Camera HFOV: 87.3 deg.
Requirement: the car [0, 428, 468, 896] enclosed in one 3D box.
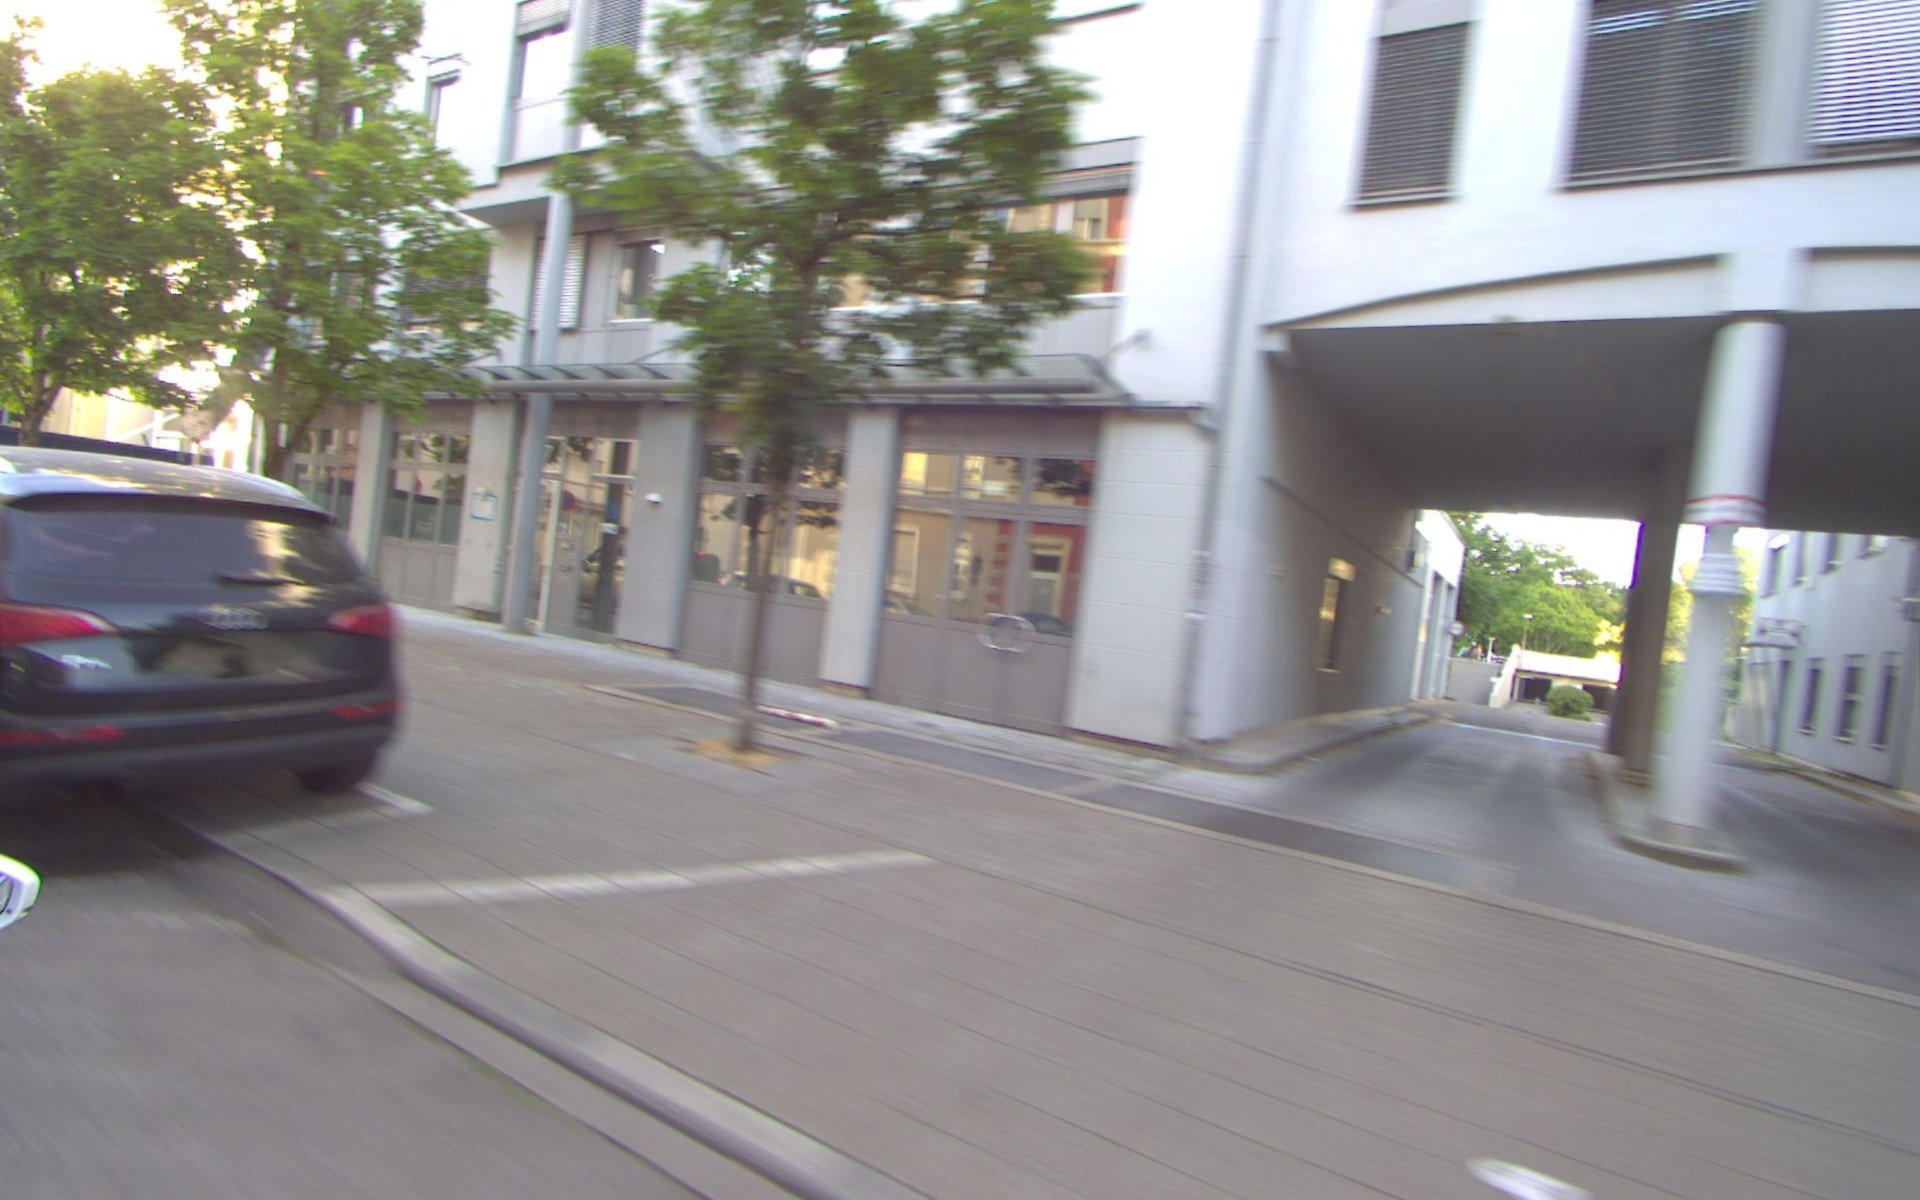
[{"bbox_3d":[-4.804,0.024,5.264,4.360,1.644,1.886,7,2,32],"label":"car"}]
